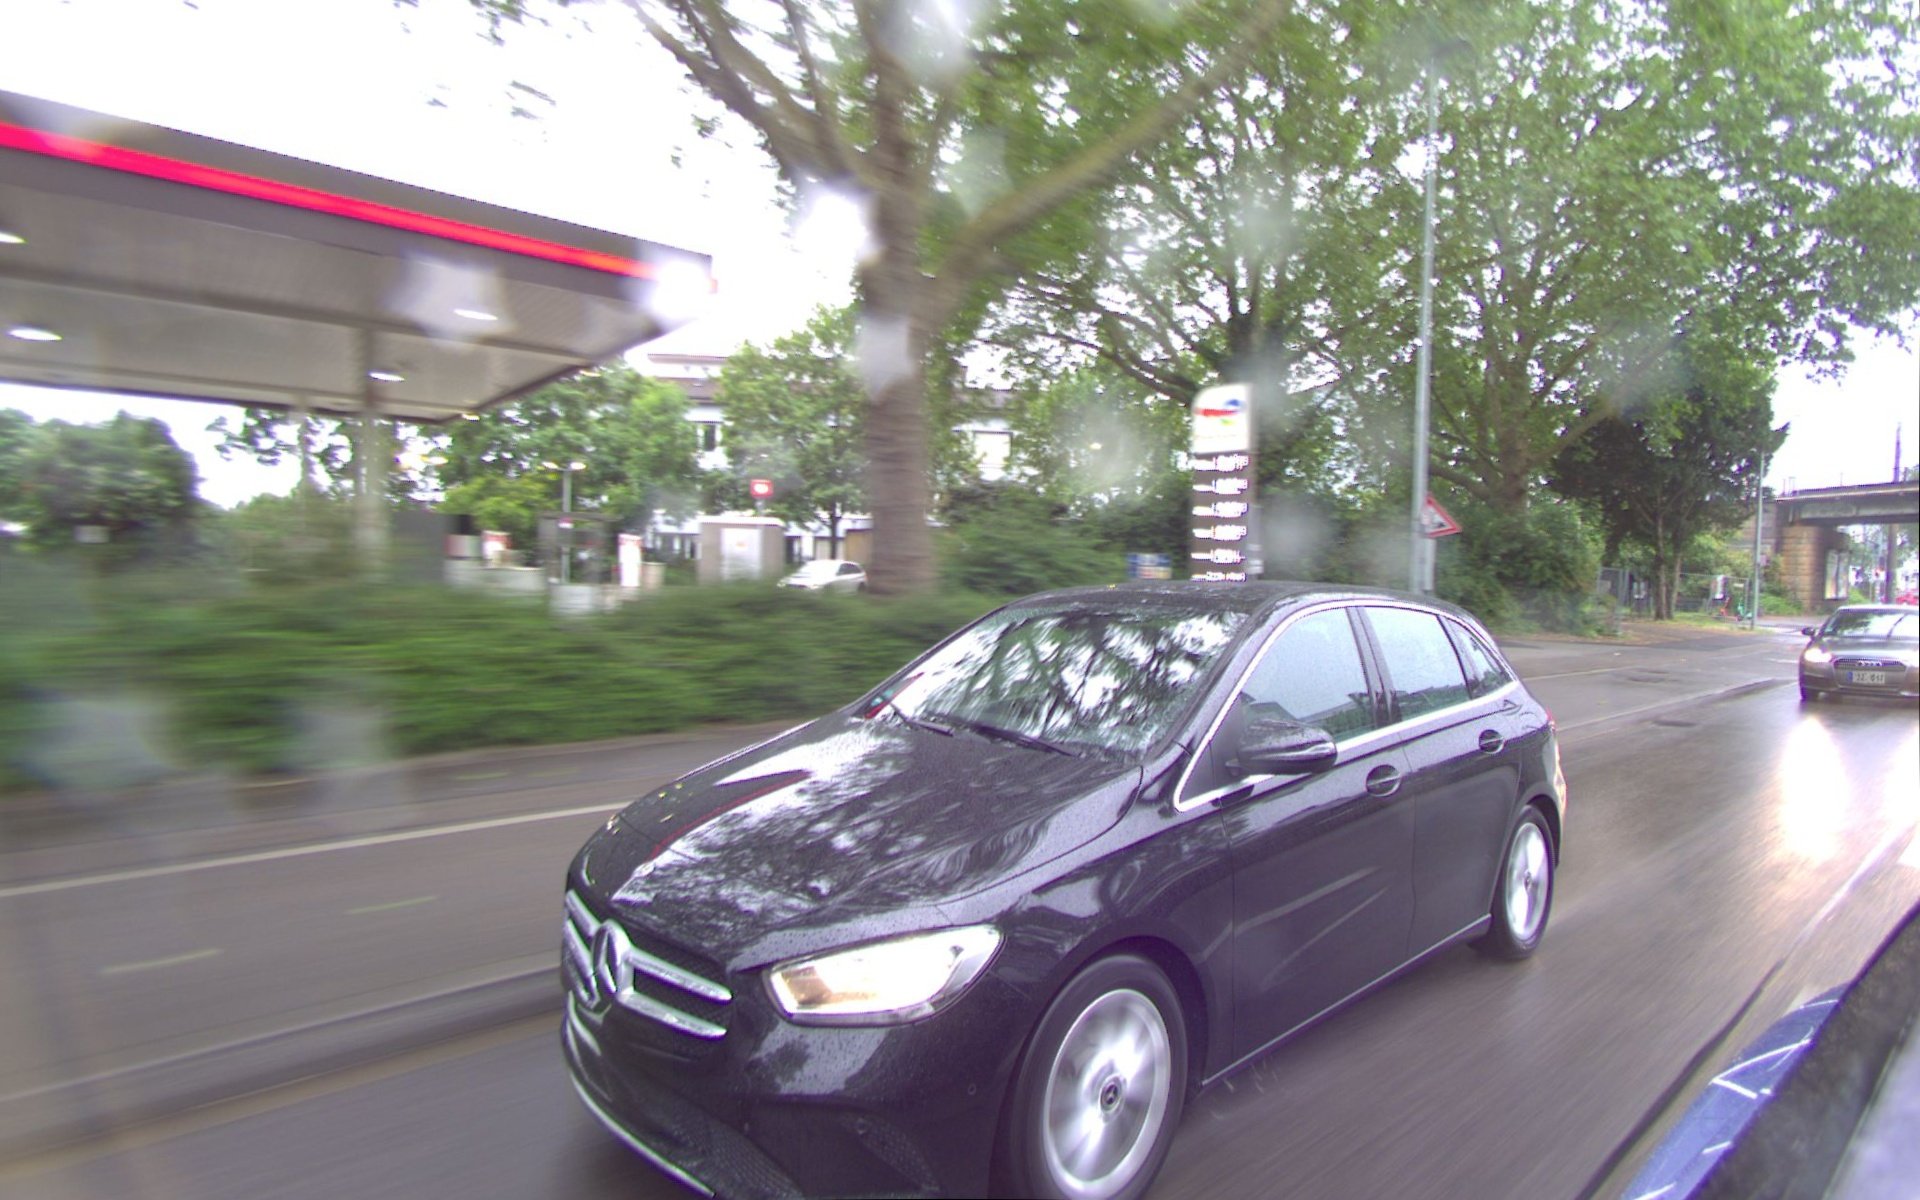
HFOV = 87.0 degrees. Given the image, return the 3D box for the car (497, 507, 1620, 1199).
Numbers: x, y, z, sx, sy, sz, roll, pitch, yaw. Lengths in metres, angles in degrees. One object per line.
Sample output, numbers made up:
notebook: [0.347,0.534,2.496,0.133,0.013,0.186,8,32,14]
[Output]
car: [0.816,0.623,3.848,4.346,1.549,1.819,1,0,-42]

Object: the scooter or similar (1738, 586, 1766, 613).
scooter or similar: [35.536,-0.037,45.381,1.792,1.173,0.454,0,0,-34]

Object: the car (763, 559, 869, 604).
car: [-5.084,-0.700,36.407,1.973,1.506,4.606,0,2,18]

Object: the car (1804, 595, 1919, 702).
car: [14.187,0.651,15.196,3.714,1.402,1.641,-1,1,-39]

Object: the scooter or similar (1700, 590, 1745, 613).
scooter or similar: [33.729,0.067,44.786,1.705,1.022,0.454,0,0,-3]
